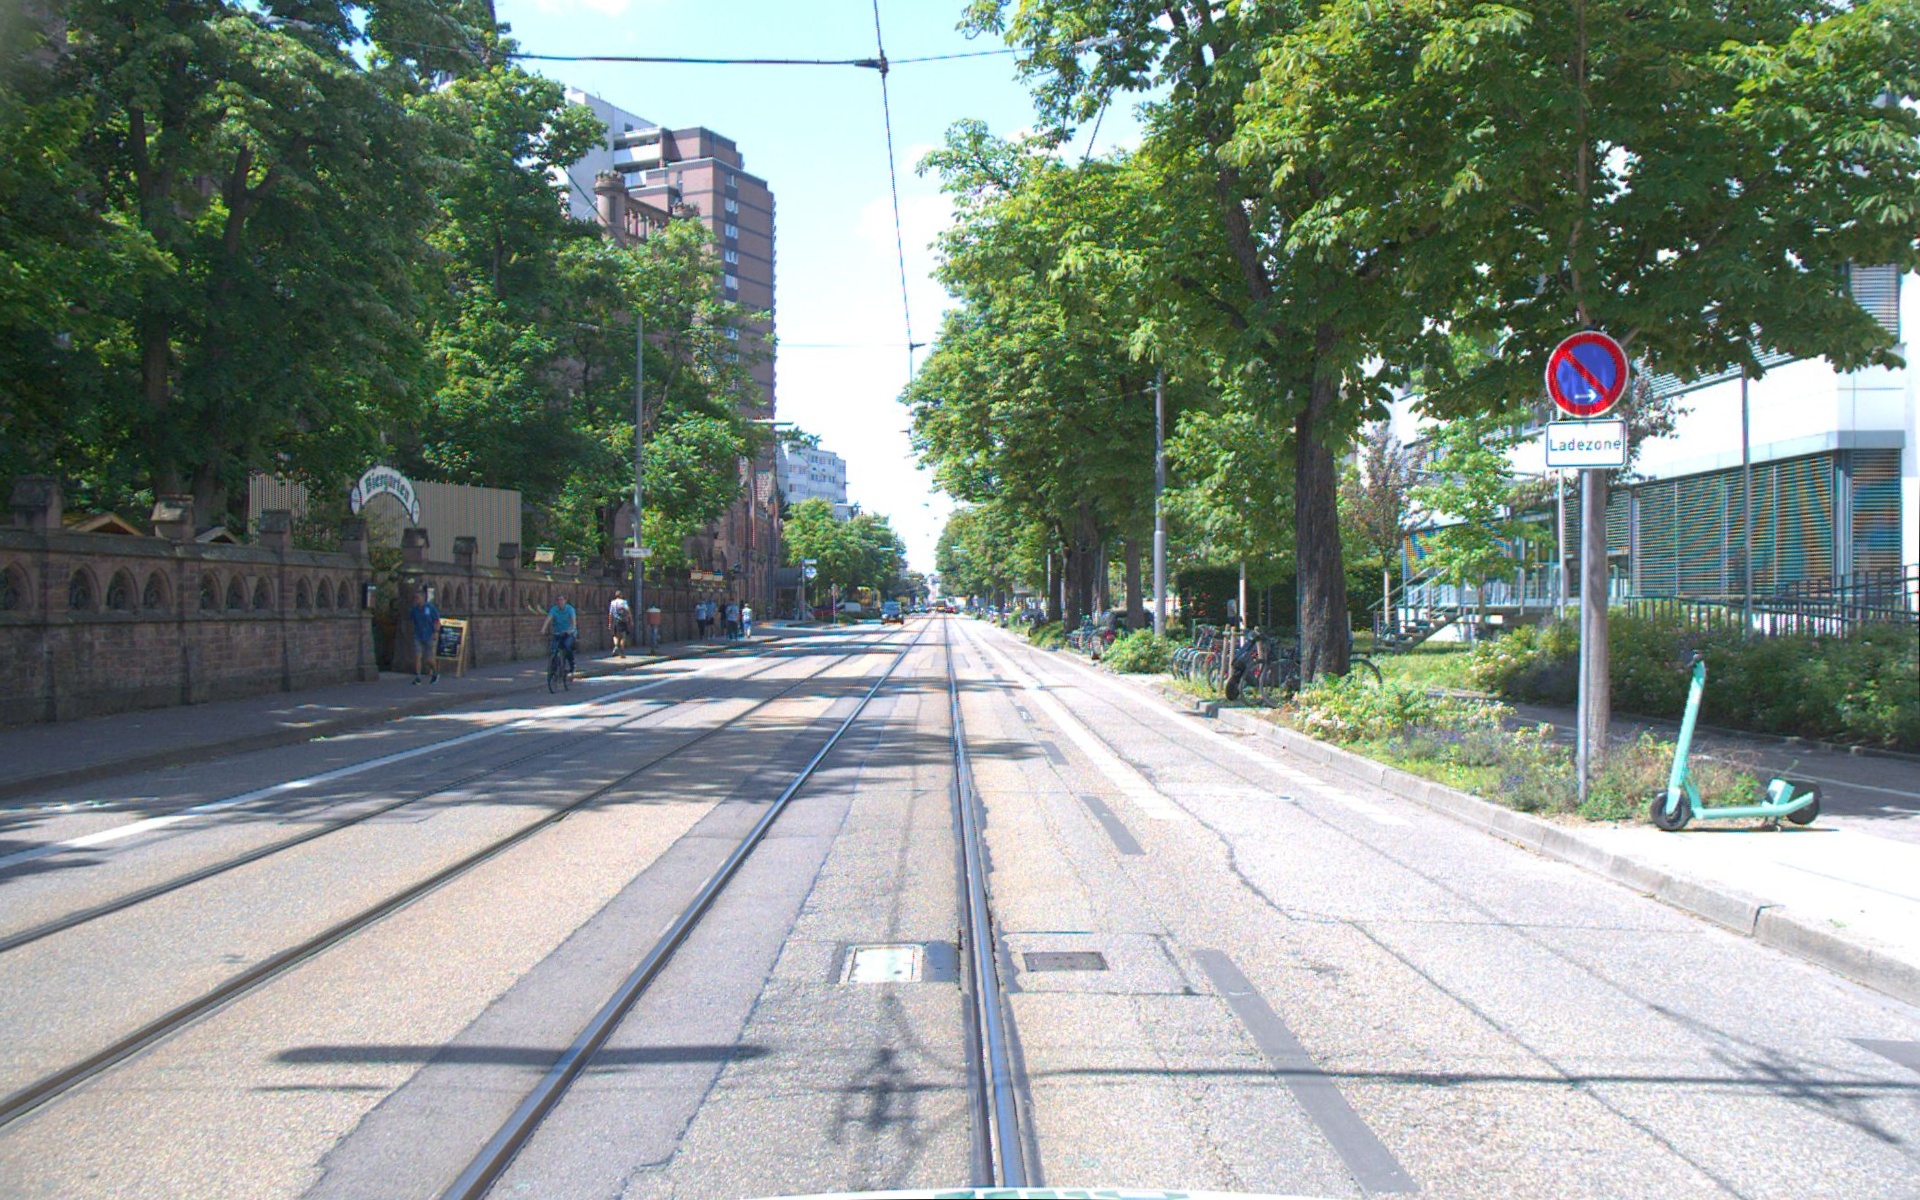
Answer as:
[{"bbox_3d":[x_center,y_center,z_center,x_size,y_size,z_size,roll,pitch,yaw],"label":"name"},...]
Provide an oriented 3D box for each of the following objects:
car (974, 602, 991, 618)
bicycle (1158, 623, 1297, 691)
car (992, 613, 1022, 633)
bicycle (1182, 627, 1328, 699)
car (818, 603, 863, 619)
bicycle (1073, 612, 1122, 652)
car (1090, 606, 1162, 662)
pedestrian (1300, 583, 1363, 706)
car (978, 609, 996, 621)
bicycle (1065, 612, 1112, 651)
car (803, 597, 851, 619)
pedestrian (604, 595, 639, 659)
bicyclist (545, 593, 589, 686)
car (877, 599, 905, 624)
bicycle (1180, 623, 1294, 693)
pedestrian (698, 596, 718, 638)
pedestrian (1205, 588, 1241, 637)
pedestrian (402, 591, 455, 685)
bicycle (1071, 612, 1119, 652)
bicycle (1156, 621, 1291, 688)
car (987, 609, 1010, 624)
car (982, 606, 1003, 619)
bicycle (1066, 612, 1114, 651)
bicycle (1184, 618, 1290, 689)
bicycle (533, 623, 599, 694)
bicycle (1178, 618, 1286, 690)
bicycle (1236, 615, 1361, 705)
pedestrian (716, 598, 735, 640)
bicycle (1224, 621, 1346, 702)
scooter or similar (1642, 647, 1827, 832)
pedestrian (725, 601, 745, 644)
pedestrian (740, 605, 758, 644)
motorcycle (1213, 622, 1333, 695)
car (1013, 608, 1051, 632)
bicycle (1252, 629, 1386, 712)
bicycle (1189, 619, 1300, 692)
[{"bbox_3d":[2.762,1.179,201.701,1.953,1.937,3.999,0,0,-1],"label":"car"},{"bbox_3d":[4.896,1.041,30.385,2.458,1.231,0.622,0,0,3],"label":"bicycle"},{"bbox_3d":[3.318,1.633,117.636,1.953,1.333,3.999,0,0,-1],"label":"car"},{"bbox_3d":[5.160,1.097,29.007,2.458,1.231,0.648,0,0,3],"label":"bicycle"},{"bbox_3d":[-13.488,1.270,186.344,4.675,1.747,1.981,0,0,-28],"label":"car"},{"bbox_3d":[4.397,1.032,52.908,1.532,1.263,0.437,0,0,1],"label":"bicycle"},{"bbox_3d":[4.684,0.936,47.013,1.600,1.527,3.999,0,0,-1],"label":"car"},{"bbox_3d":[5.351,0.628,23.824,0.574,1.745,0.793,-1,-1,42],"label":"pedestrian"},{"bbox_3d":[3.126,1.704,192.173,1.953,1.333,3.999,0,0,-1],"label":"car"},{"bbox_3d":[4.232,1.024,54.522,1.532,1.263,0.437,0,0,1],"label":"bicycle"},{"bbox_3d":[-12.257,0.734,152.985,3.950,1.835,1.977,2,0,-33],"label":"car"},{"bbox_3d":[-9.533,0.754,46.571,0.798,1.801,0.924,0,-1,-1],"label":"pedestrian"},{"bbox_3d":[-7.313,0.730,30.775,0.629,1.709,0.814,0,0,-1],"label":"bicyclist"},{"bbox_3d":[-5.626,0.948,135.523,1.952,2.049,4.001,0,0,2],"label":"car"},{"bbox_3d":[4.958,1.041,29.703,1.955,1.231,0.662,0,0,3],"label":"bicycle"},{"bbox_3d":[-10.749,0.718,70.536,0.728,1.758,0.867,0,-1,-1],"label":"pedestrian"},{"bbox_3d":[9.977,0.478,62.782,1.191,1.859,0.831,0,0,-4],"label":"pedestrian"},{"bbox_3d":[-10.044,0.711,31.266,0.728,1.758,0.867,0,-1,-1],"label":"pedestrian"},{"bbox_3d":[4.362,1.025,53.412,1.532,1.263,0.437,0,0,1],"label":"bicycle"},{"bbox_3d":[4.946,1.018,31.159,2.458,1.231,0.742,0,0,3],"label":"bicycle"},{"bbox_3d":[3.434,1.442,148.369,1.953,1.333,3.999,0,0,-1],"label":"car"},{"bbox_3d":[3.150,1.214,161.316,1.953,1.333,3.999,0,0,-1],"label":"car"},{"bbox_3d":[4.241,1.023,53.993,1.532,1.263,0.437,0,0,1],"label":"bicycle"},{"bbox_3d":[4.727,0.909,28.291,1.717,1.186,0.530,0,-1,-4],"label":"bicycle"},{"bbox_3d":[-7.297,1.066,30.723,0.686,1.225,2.240,-2,0,-1],"label":"bicycle"},{"bbox_3d":[4.556,0.903,27.787,1.717,1.186,0.530,0,-1,-4],"label":"bicycle"},{"bbox_3d":[4.945,0.868,24.218,1.717,1.293,0.530,0,-1,-4],"label":"bicycle"},{"bbox_3d":[-9.994,0.800,70.503,0.728,1.758,0.867,0,-1,-1],"label":"pedestrian"},{"bbox_3d":[4.857,0.913,24.745,1.717,1.186,0.530,0,-1,-4],"label":"bicycle"},{"bbox_3d":[5.163,0.920,11.049,1.037,1.176,0.370,-1,-1,-1],"label":"scooter or similar"},{"bbox_3d":[-9.390,0.928,69.079,0.728,1.758,0.867,0,-1,-1],"label":"pedestrian"},{"bbox_3d":[-9.625,1.115,75.424,0.728,1.758,0.867,0,-1,-2],"label":"pedestrian"},{"bbox_3d":[4.979,0.924,26.340,1.787,1.130,0.598,0,0,-1],"label":"motorcycle"},{"bbox_3d":[4.174,1.149,96.292,1.953,1.333,3.999,0,0,-1],"label":"car"},{"bbox_3d":[4.992,0.974,23.045,1.752,1.121,0.531,0,0,-3],"label":"bicycle"},{"bbox_3d":[4.661,0.908,27.104,1.717,1.186,0.530,0,-1,-4],"label":"bicycle"}]
